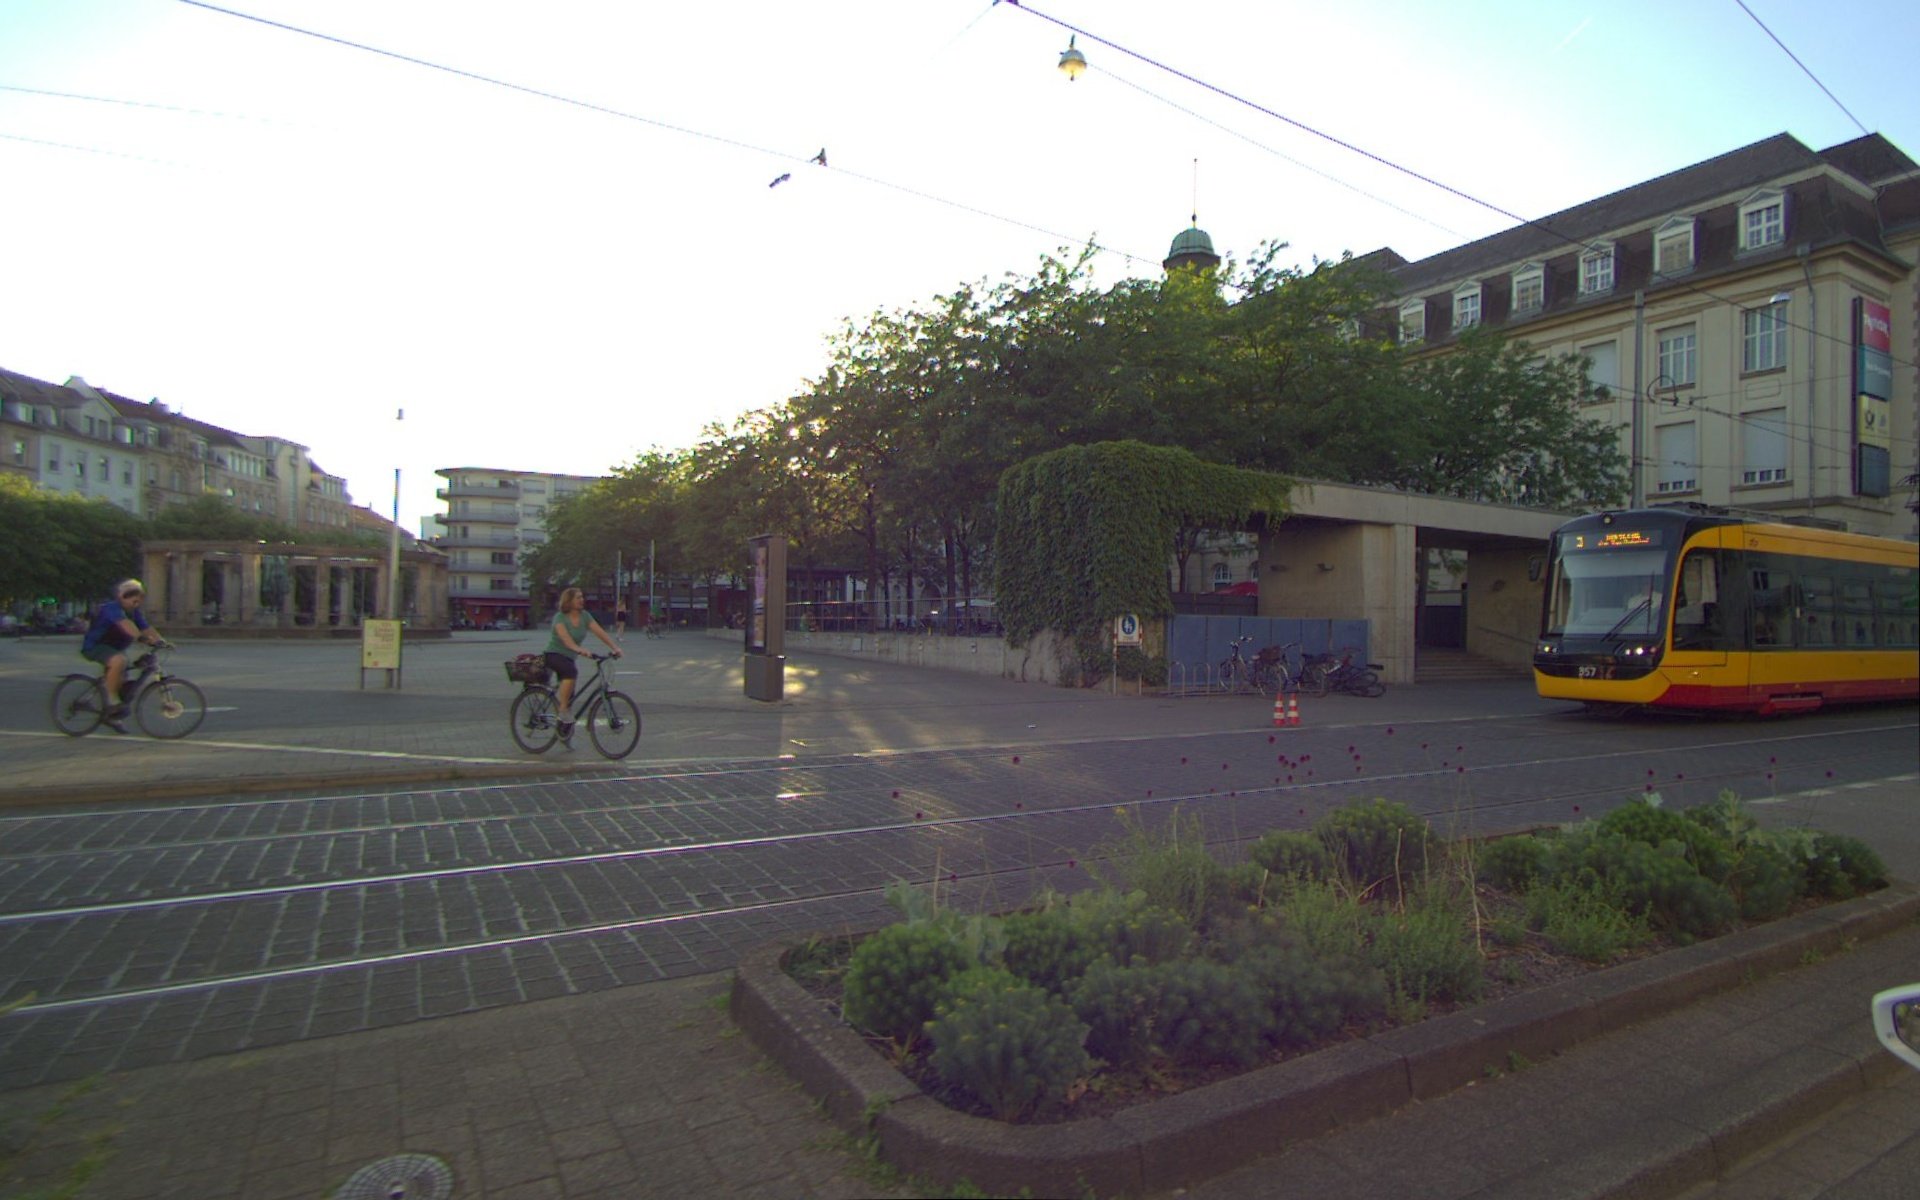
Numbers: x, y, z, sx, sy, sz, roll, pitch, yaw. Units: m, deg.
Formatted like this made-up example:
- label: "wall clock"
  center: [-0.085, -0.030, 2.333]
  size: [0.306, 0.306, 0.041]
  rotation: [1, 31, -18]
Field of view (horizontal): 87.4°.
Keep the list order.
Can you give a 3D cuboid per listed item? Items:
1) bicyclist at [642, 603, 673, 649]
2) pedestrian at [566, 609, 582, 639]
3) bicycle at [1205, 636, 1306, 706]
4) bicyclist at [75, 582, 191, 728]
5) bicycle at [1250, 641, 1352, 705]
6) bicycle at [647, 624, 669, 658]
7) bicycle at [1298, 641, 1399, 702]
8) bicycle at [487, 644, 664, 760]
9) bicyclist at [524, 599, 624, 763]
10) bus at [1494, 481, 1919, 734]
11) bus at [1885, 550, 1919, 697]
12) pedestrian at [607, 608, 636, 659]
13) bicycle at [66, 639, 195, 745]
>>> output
- label: "bicyclist"
  center: [-13.673, 1.189, 45.414]
  size: [1.122, 2.044, 0.960]
  rotation: [3, -2, -9]
- label: "pedestrian"
  center: [-23.708, 1.477, 61.661]
  size: [0.758, 1.801, 0.570]
  rotation: [2, -1, -39]
- label: "bicycle"
  center: [6.011, 1.429, 20.574]
  size: [0.573, 1.317, 2.187]
  rotation: [3, -3, -29]
- label: "bicyclist"
  center: [-9.659, 0.631, 11.746]
  size: [0.788, 1.632, 0.738]
  rotation: [1, -3, 29]
- label: "bicycle"
  center: [7.246, 1.529, 21.452]
  size: [0.573, 1.271, 2.231]
  rotation: [3, -3, -29]
- label: "bicycle"
  center: [-13.706, 1.862, 45.671]
  size: [0.569, 1.495, 2.246]
  rotation: [2, -2, -8]
- label: "bicycle"
  center: [8.618, 1.568, 22.380]
  size: [0.578, 1.248, 2.231]
  rotation: [2, -2, -29]
- label: "bicycle"
  center: [-4.158, 1.074, 10.852]
  size: [1.898, 1.126, 0.461]
  rotation: [1, -2, 20]
- label: "bicyclist"
  center: [-4.168, 0.858, 10.870]
  size: [0.691, 1.690, 0.628]
  rotation: [1, -2, 19]
- label: "bus"
  center: [17.083, 0.353, 20.224]
  size: [16.872, 3.699, 2.809]
  rotation: [2, -2, -30]
- label: "bus"
  center: [27.903, 0.755, 26.572]
  size: [8.192, 3.672, 2.809]
  rotation: [3, -2, -30]
- label: "pedestrian"
  center: [-14.065, 1.389, 41.736]
  size: [0.922, 2.088, 0.931]
  rotation: [1, 0, -35]
- label: "bicycle"
  center: [-9.675, 1.041, 11.700]
  size: [1.893, 1.126, 0.460]
  rotation: [0, -2, 29]
